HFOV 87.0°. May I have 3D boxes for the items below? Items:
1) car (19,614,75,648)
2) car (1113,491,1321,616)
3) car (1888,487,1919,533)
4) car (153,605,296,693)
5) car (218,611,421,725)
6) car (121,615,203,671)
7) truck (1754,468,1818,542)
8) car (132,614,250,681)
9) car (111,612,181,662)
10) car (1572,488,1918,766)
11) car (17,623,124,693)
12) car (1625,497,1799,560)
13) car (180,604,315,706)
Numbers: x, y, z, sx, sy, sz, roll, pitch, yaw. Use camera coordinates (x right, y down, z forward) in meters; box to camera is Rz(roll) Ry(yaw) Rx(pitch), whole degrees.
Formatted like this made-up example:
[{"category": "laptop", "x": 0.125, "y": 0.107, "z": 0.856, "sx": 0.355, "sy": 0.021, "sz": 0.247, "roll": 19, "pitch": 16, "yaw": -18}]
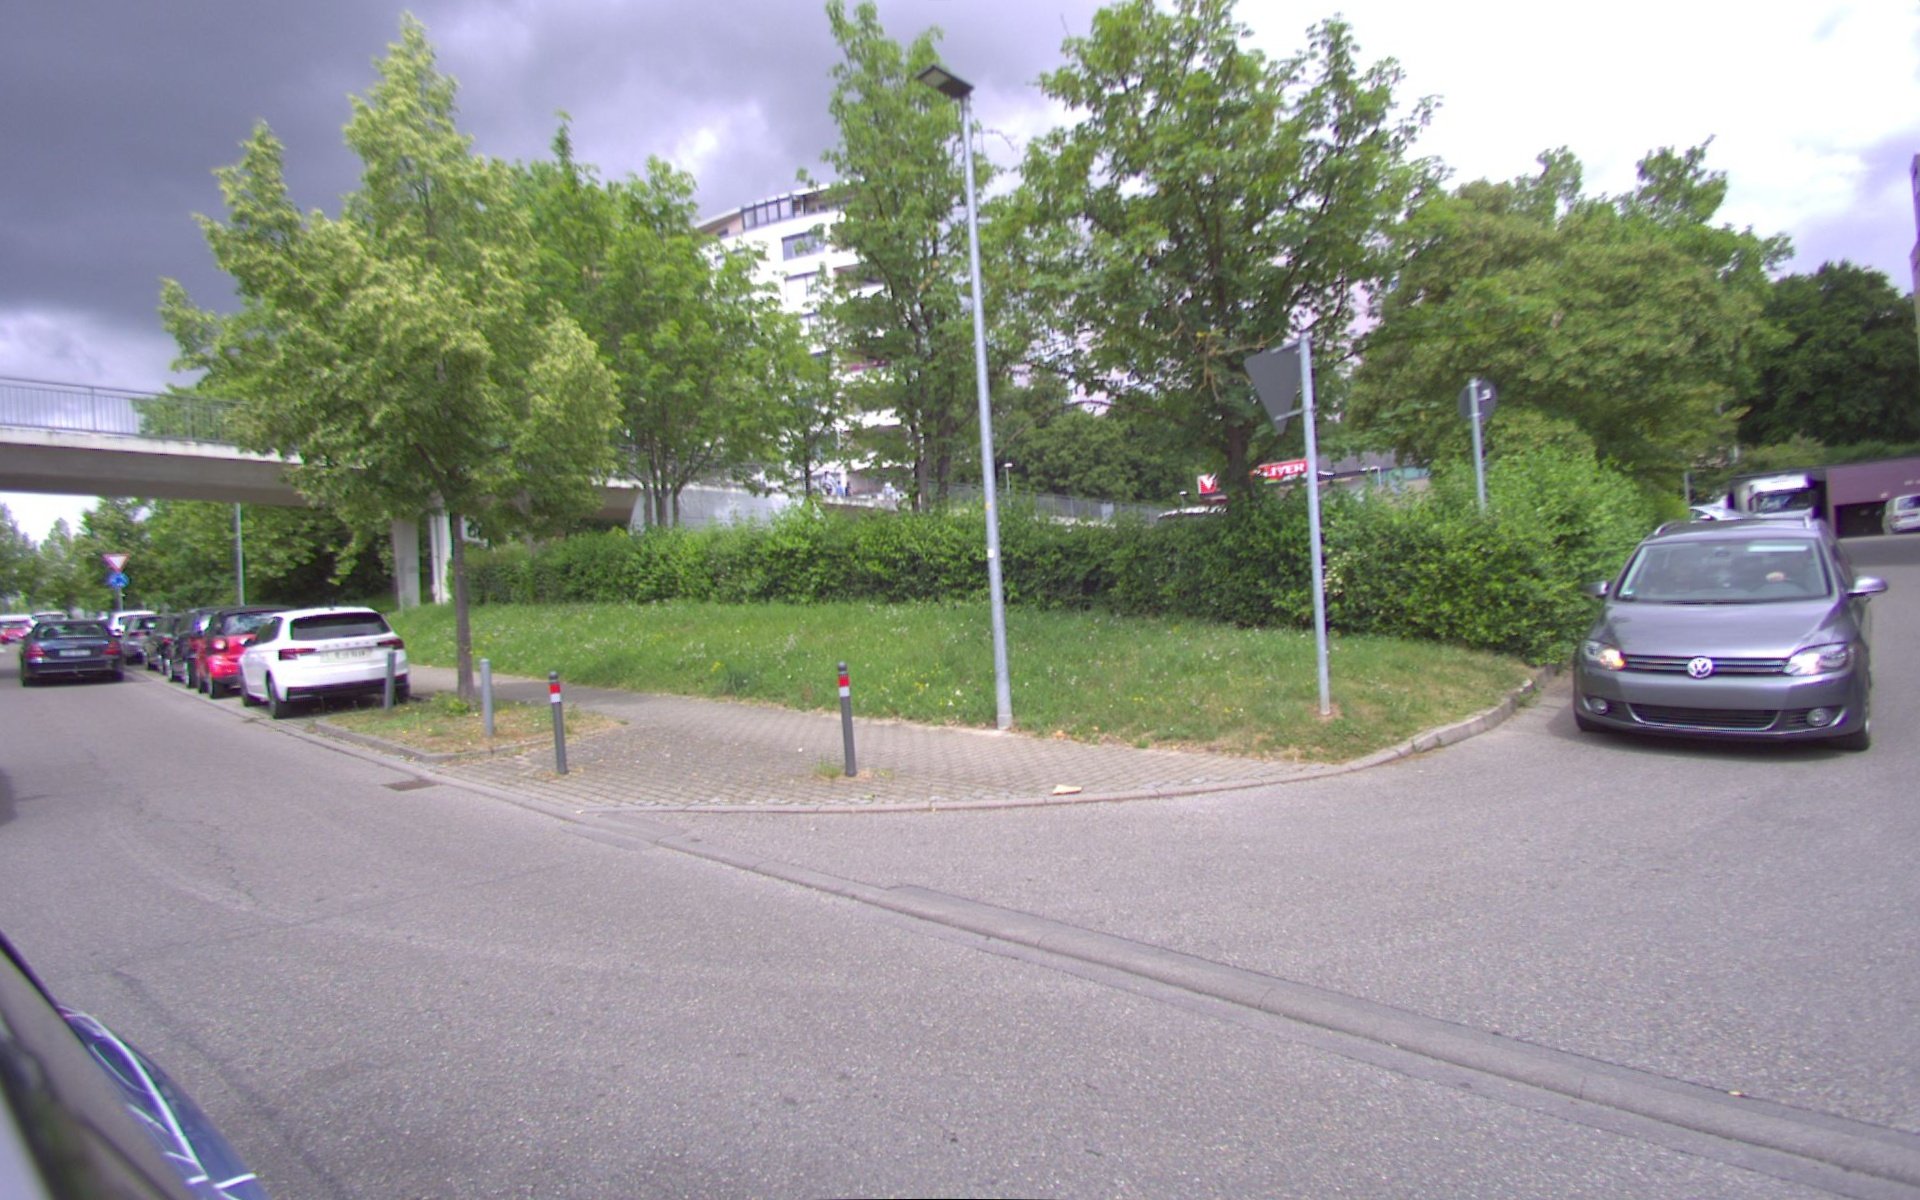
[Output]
[{"category": "car", "x": -44.658, "y": 1.500, "z": 49.478, "sx": 3.723, "sy": 1.582, "sz": 1.788, "roll": -1, "pitch": -1, "yaw": 44}, {"category": "car", "x": 4.747, "y": -0.889, "z": 18.332, "sx": 1.999, "sy": 1.872, "sz": 3.948, "roll": -1, "pitch": 6, "yaw": 41}, {"category": "car", "x": 44.683, "y": -4.194, "z": 47.046, "sx": 1.792, "sy": 1.839, "sz": 3.951, "roll": -2, "pitch": -1, "yaw": 37}, {"category": "car", "x": -15.743, "y": 0.990, "z": 21.584, "sx": 3.987, "sy": 1.596, "sz": 1.788, "roll": -1, "pitch": 2, "yaw": 45}, {"category": "car", "x": -9.779, "y": 0.913, "z": 15.327, "sx": 1.787, "sy": 1.415, "sz": 4.051, "roll": -3, "pitch": 2, "yaw": -44}, {"category": "car", "x": -24.619, "y": 1.265, "z": 31.182, "sx": 1.786, "sy": 1.466, "sz": 3.867, "roll": -5, "pitch": 3, "yaw": -40}, {"category": "truck", "x": 45.808, "y": -5.202, "z": 56.250, "sx": 2.577, "sy": 3.720, "sz": 7.242, "roll": -1, "pitch": 3, "yaw": 38}, {"category": "car", "x": -19.986, "y": 1.158, "z": 26.240, "sx": 4.489, "sy": 1.491, "sz": 1.788, "roll": -1, "pitch": 2, "yaw": 45}, {"category": "car", "x": -28.259, "y": 1.232, "z": 35.121, "sx": 1.785, "sy": 1.582, "sz": 3.728, "roll": -1, "pitch": 0, "yaw": -40}, {"category": "car", "x": 6.480, "y": 0.039, "z": 8.161, "sx": 1.759, "sy": 1.674, "sz": 4.061, "roll": -1, "pitch": 3, "yaw": 44}, {"category": "car", "x": -20.636, "y": 1.273, "z": 23.499, "sx": 1.730, "sy": 1.430, "sz": 4.373, "roll": -1, "pitch": -1, "yaw": -42}, {"category": "car", "x": 23.332, "y": -2.192, "z": 31.537, "sx": 1.632, "sy": 1.674, "sz": 4.012, "roll": -4, "pitch": 3, "yaw": -32}, {"category": "car", "x": -13.080, "y": 0.940, "z": 18.540, "sx": 1.575, "sy": 1.596, "sz": 2.688, "roll": -6, "pitch": 4, "yaw": -42}]
